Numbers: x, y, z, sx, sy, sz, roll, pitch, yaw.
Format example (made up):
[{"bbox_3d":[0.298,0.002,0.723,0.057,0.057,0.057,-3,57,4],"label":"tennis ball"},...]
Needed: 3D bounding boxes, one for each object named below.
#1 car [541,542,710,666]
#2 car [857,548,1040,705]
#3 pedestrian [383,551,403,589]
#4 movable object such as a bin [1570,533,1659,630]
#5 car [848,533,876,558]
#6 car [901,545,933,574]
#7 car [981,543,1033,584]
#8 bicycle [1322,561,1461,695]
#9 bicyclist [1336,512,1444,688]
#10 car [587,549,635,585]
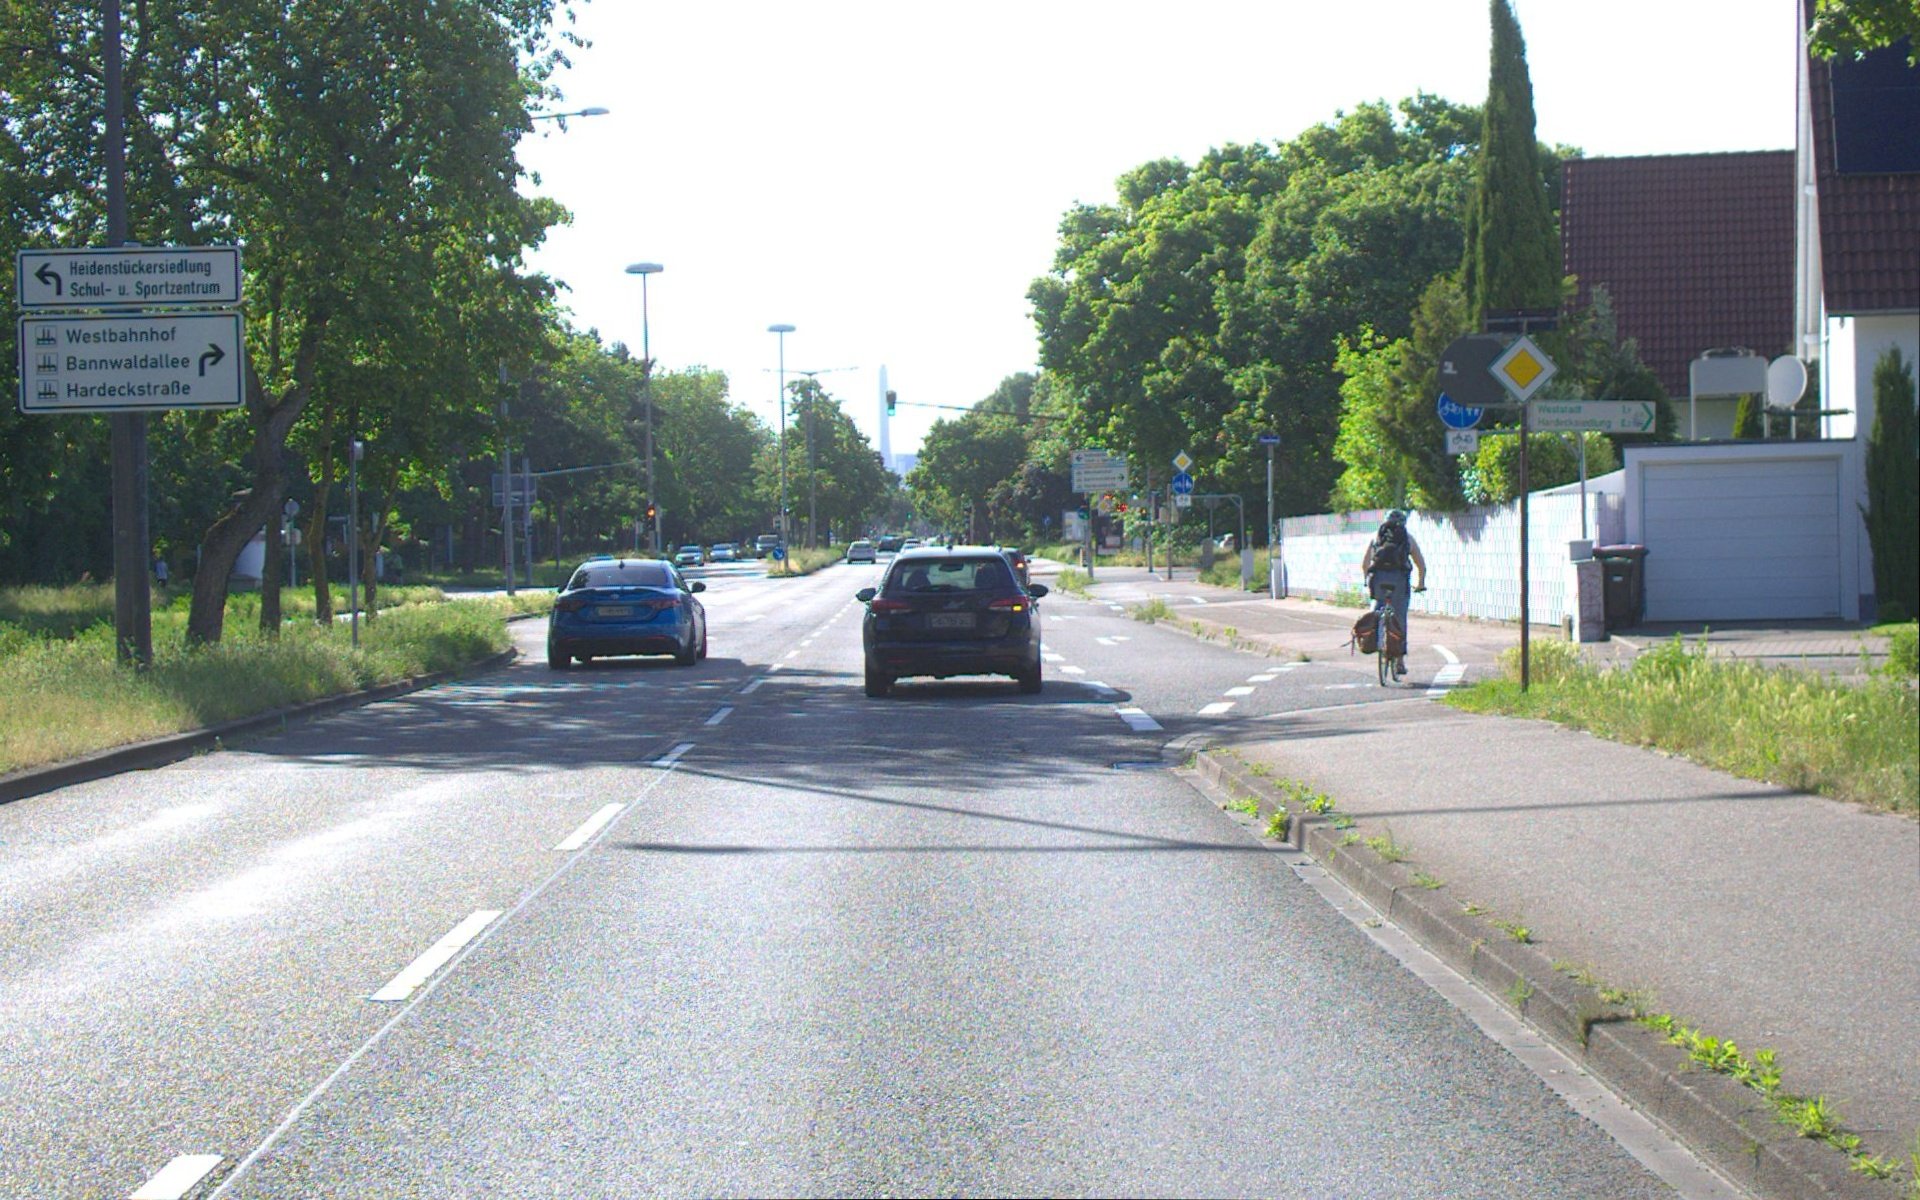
[{"bbox_3d":[-4.414,0.038,45.884,1.888,1.547,4.000,-1,0,-1],"label":"car"},{"bbox_3d":[-0.133,0.237,35.006,1.755,1.504,3.809,0,0,-1],"label":"car"},{"bbox_3d":[-27.331,-1.450,165.796,0.846,1.829,0.549,-1,2,2],"label":"pedestrian"},{"bbox_3d":[8.471,-0.241,44.522,1.002,1.201,1.062,-3,0,7],"label":"movable object such as a bin"},{"bbox_3d":[-6.413,-3.556,224.792,1.824,1.609,3.841,0,1,-2],"label":"car"},{"bbox_3d":[-2.462,-2.305,196.510,1.732,1.579,3.840,1,0,0],"label":"car"},{"bbox_3d":[1.710,-1.326,124.006,1.732,1.454,3.840,0,1,3],"label":"car"},{"bbox_3d":[4.204,0.256,33.333,0.575,1.151,2.138,-3,1,27],"label":"bicycle"},{"bbox_3d":[4.172,-0.007,33.306,0.631,1.627,0.980,-3,1,27],"label":"bicyclist"},{"bbox_3d":[-17.433,-1.639,171.891,1.912,1.697,4.408,1,0,0],"label":"car"}]
